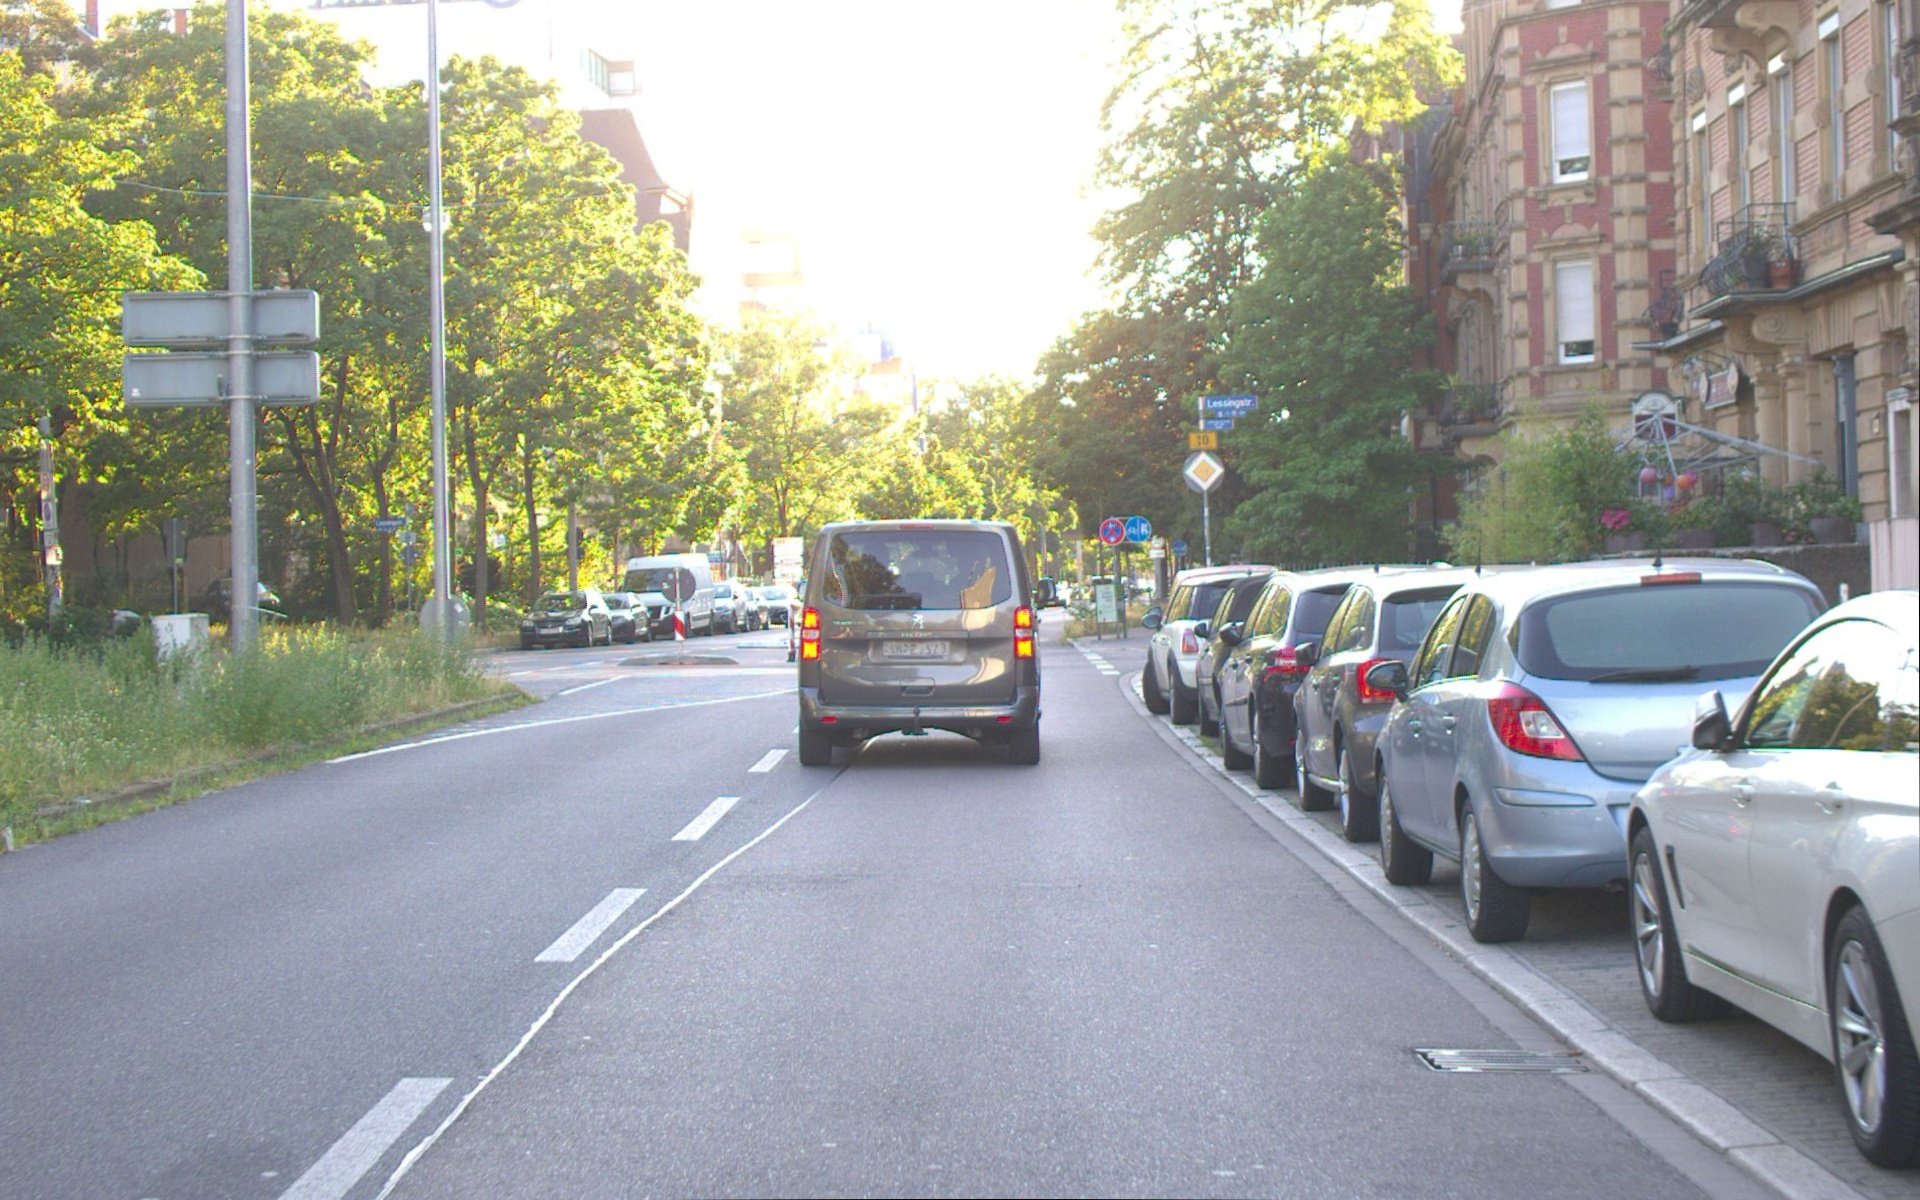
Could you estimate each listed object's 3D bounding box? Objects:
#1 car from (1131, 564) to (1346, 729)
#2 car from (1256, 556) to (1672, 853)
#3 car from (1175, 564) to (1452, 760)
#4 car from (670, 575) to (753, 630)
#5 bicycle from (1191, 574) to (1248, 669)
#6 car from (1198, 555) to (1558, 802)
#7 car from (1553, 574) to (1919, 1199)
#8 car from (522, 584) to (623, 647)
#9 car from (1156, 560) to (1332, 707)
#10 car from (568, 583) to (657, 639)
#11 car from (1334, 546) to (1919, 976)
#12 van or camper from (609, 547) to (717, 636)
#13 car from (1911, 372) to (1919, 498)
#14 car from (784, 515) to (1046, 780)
[{"bbox_3d":[2.697,0.429,34.020,1.677,1.422,3.677,-4,0,-1],"label":"car"},{"bbox_3d":[2.803,0.535,19.903,1.747,1.422,3.840,-4,0,0],"label":"car"},{"bbox_3d":[2.953,0.476,29.572,1.887,1.422,4.342,-4,0,1],"label":"car"},{"bbox_3d":[-7.776,0.065,108.131,1.866,1.639,4.570,-2,0,5],"label":"car"},{"bbox_3d":[3.686,0.318,49.022,0.565,1.271,2.264,-5,-1,1],"label":"bicycle"},{"bbox_3d":[2.834,0.492,24.259,1.887,1.443,4.464,-4,0,0],"label":"car"},{"bbox_3d":[2.971,0.644,9.680,1.728,1.380,4.643,-4,0,0],"label":"car"},{"bbox_3d":[-9.816,0.372,87.354,1.624,1.501,4.543,-2,0,5],"label":"car"},{"bbox_3d":[3.172,0.348,38.943,1.726,1.460,3.546,-4,0,2],"label":"car"},{"bbox_3d":[-9.389,0.282,93.150,1.628,1.424,4.242,-2,0,5],"label":"car"},{"bbox_3d":[2.761,0.593,14.814,1.700,1.482,3.893,-4,0,-1],"label":"car"},{"bbox_3d":[-8.668,-0.259,100.888,2.091,2.460,6.304,-2,0,4],"label":"van or camper"},{"bbox_3d":[2.715,0.476,3.901,1.887,1.912,5.179,-4,0,2],"label":"car"},{"bbox_3d":[-0.336,0.338,27.424,1.887,1.918,3.839,-2,0,0],"label":"car"}]
